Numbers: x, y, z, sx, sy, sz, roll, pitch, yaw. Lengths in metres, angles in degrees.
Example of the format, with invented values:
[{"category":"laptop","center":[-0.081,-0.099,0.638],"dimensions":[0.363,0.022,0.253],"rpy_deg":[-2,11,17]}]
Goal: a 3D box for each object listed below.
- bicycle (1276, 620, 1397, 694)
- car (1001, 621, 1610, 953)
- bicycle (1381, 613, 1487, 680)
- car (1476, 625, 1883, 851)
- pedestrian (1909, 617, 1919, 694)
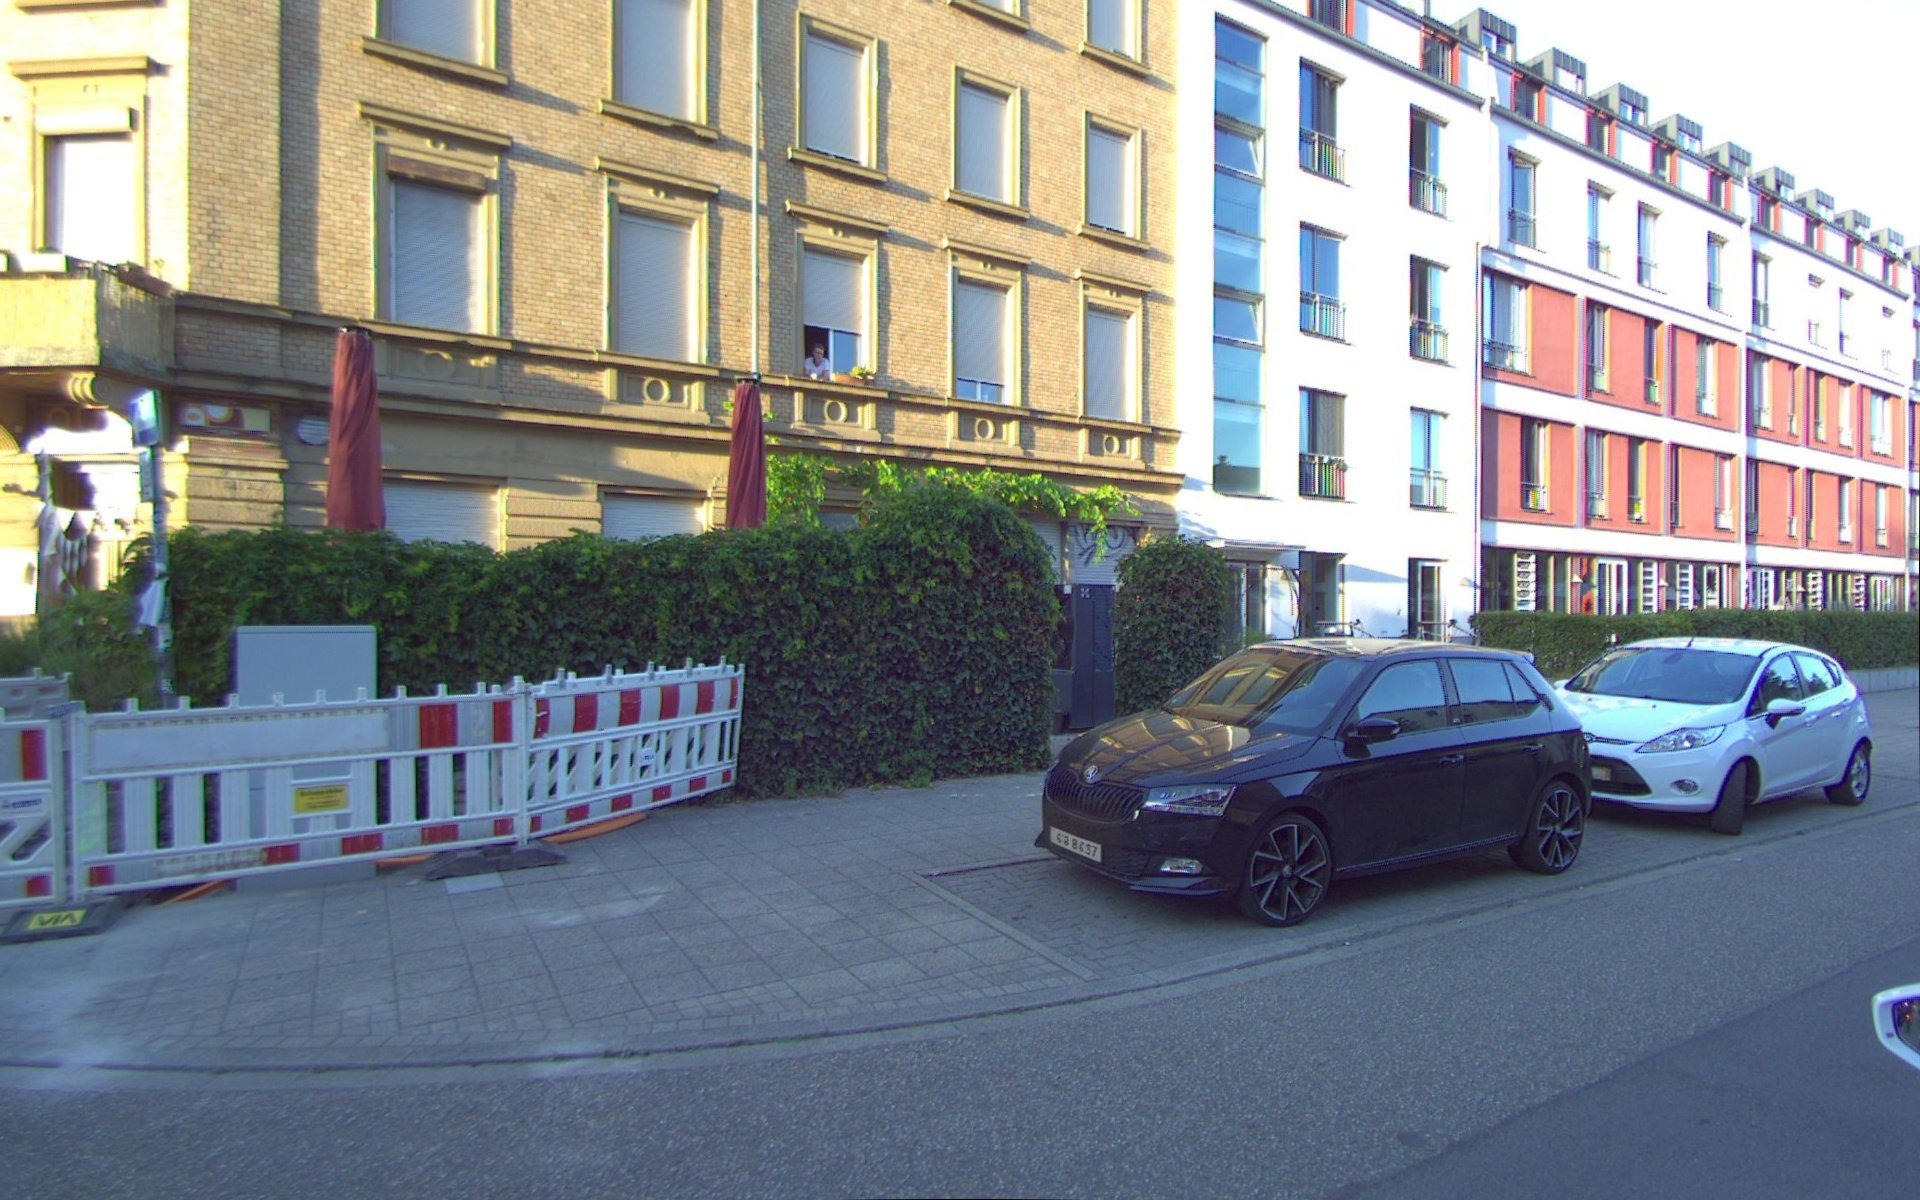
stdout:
[{"category":"bicycle","center":[6.541,0.964,17.556],"dimensions":[0.802,1.157,1.907],"rpy_deg":[1,1,-29]},{"category":"car","center":[2.311,0.928,6.505],"dimensions":[3.799,1.554,1.695],"rpy_deg":[1,0,-31]},{"category":"bicycle","center":[8.826,0.840,18.782],"dimensions":[0.602,1.163,1.769],"rpy_deg":[1,1,-27]},{"category":"car","center":[6.469,1.026,8.918],"dimensions":[3.975,1.550,1.641],"rpy_deg":[1,0,-34]},{"category":"pedestrian","center":[19.589,1.113,19.982],"dimensions":[0.788,1.521,0.828],"rpy_deg":[0,1,-30]}]
